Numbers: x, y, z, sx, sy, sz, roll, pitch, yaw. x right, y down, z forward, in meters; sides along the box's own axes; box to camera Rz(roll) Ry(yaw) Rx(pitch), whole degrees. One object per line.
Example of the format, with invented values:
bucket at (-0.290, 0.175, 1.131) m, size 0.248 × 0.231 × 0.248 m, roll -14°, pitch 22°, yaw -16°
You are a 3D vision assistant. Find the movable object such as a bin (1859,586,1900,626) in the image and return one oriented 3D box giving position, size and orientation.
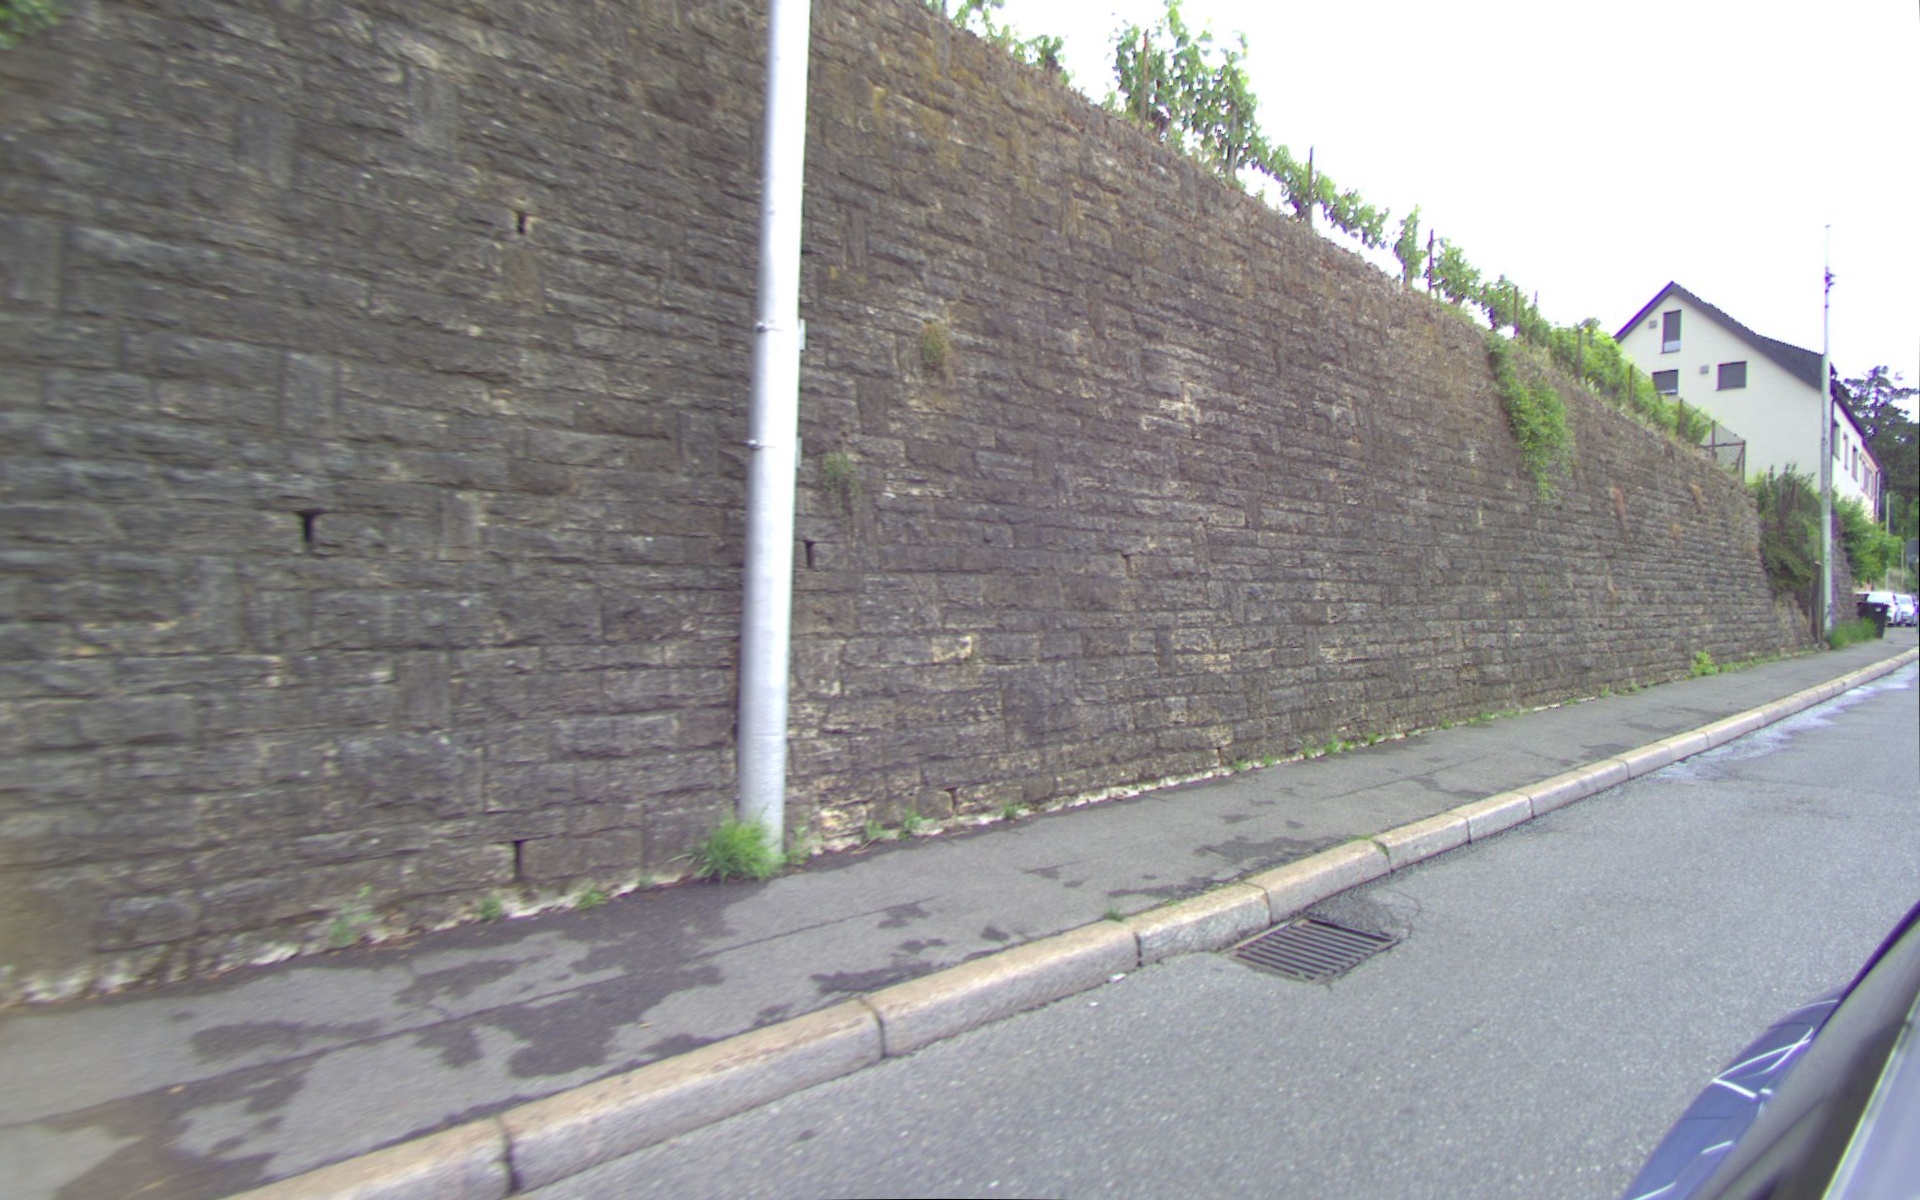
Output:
movable object such as a bin at (26.999, 0.166, 29.709) m, size 0.860 × 1.140 × 0.810 m, roll 0°, pitch 1°, yaw -42°

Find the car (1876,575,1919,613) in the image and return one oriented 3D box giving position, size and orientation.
car at (41.931, -0.285, 44.667) m, size 4.176 × 1.594 × 1.730 m, roll -1°, pitch 1°, yaw -41°

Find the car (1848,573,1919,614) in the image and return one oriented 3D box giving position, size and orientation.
car at (38.088, -0.288, 41.674) m, size 3.985 × 1.594 × 1.797 m, roll -1°, pitch 1°, yaw -41°
